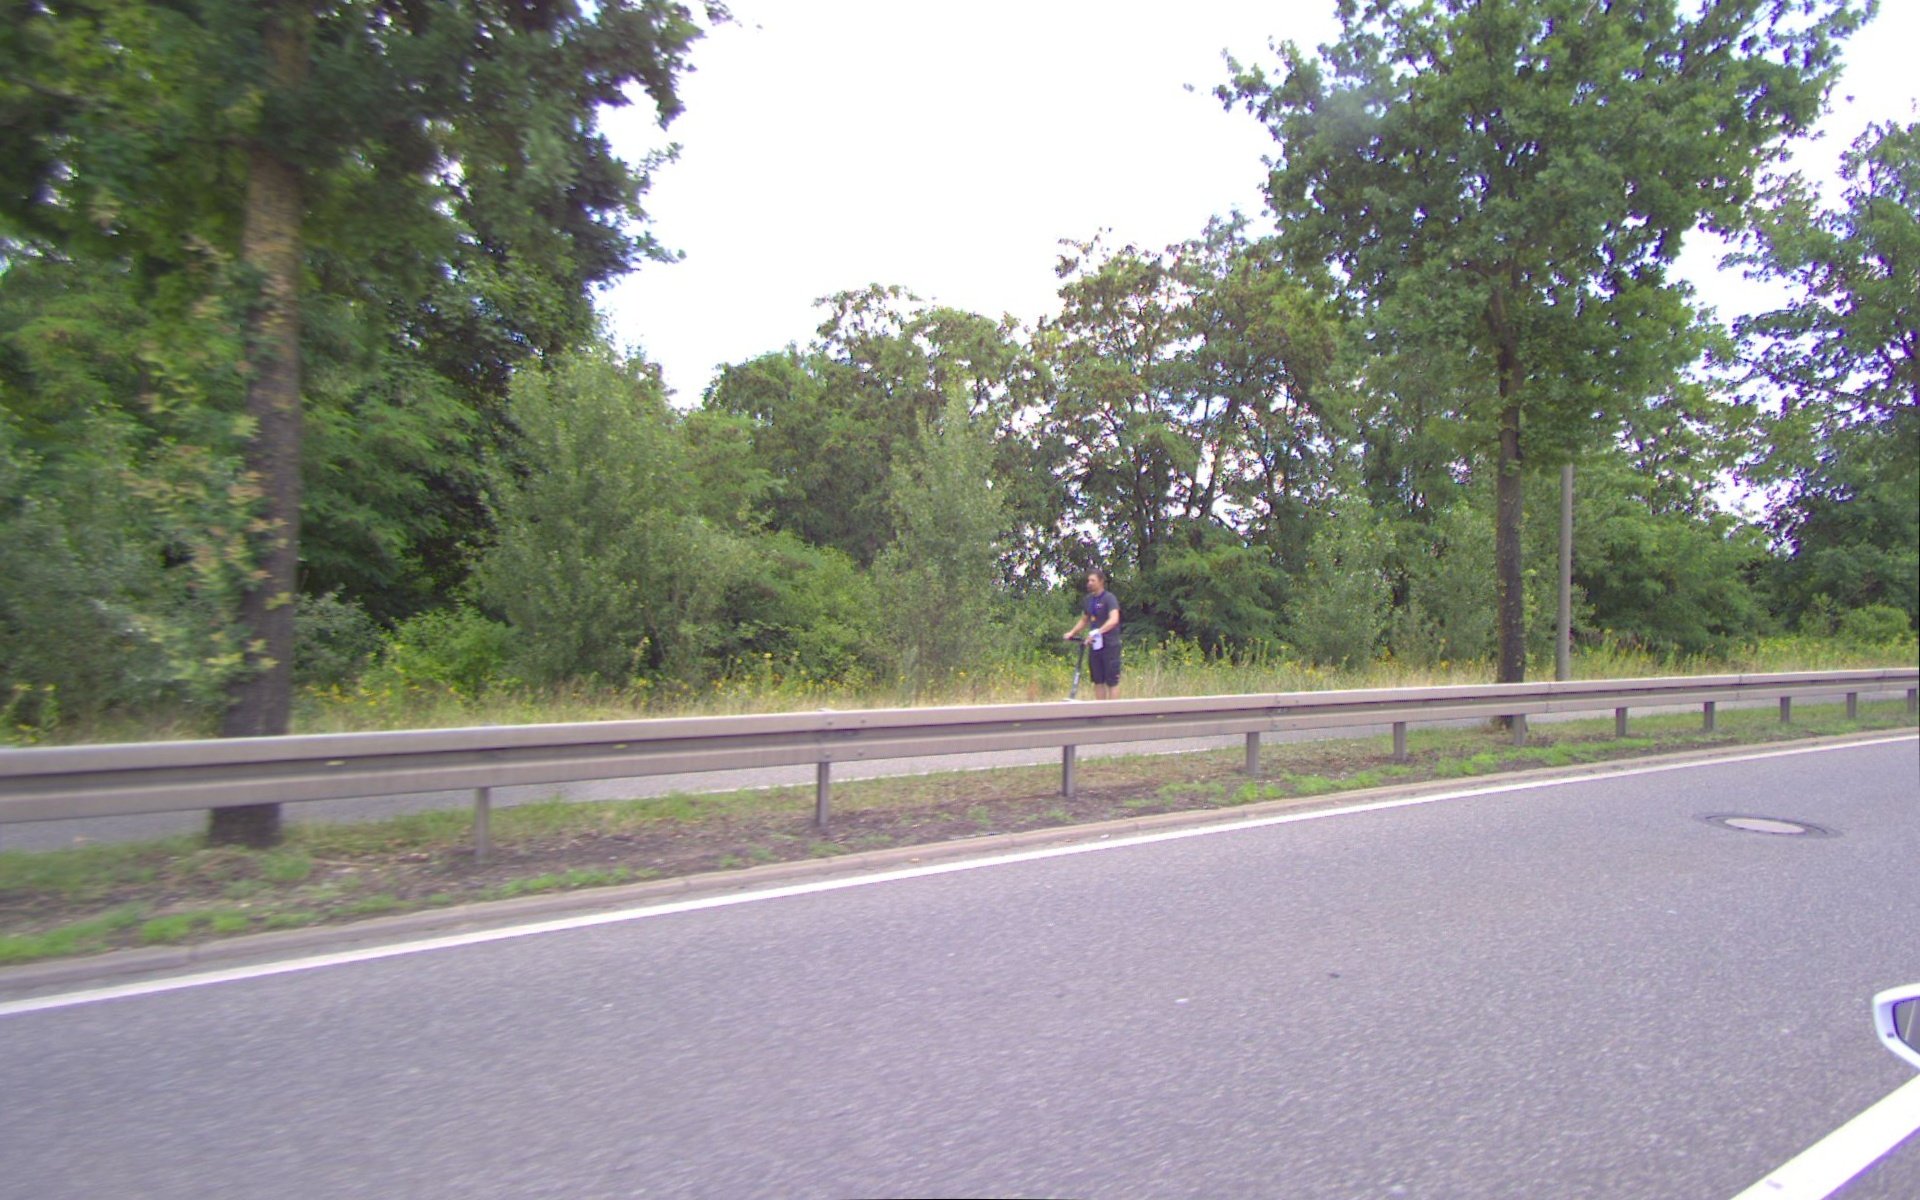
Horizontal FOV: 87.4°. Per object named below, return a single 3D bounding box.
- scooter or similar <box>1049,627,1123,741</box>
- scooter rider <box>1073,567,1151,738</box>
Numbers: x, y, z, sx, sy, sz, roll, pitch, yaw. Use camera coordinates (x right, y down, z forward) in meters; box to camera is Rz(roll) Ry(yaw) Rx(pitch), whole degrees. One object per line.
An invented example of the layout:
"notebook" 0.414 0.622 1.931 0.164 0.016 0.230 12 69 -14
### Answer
"scooter or similar" 1.410 0.921 11.289 0.553 1.223 0.631 0 -2 -32
"scooter rider" 1.735 0.593 11.487 0.612 1.881 0.658 1 -2 -30
